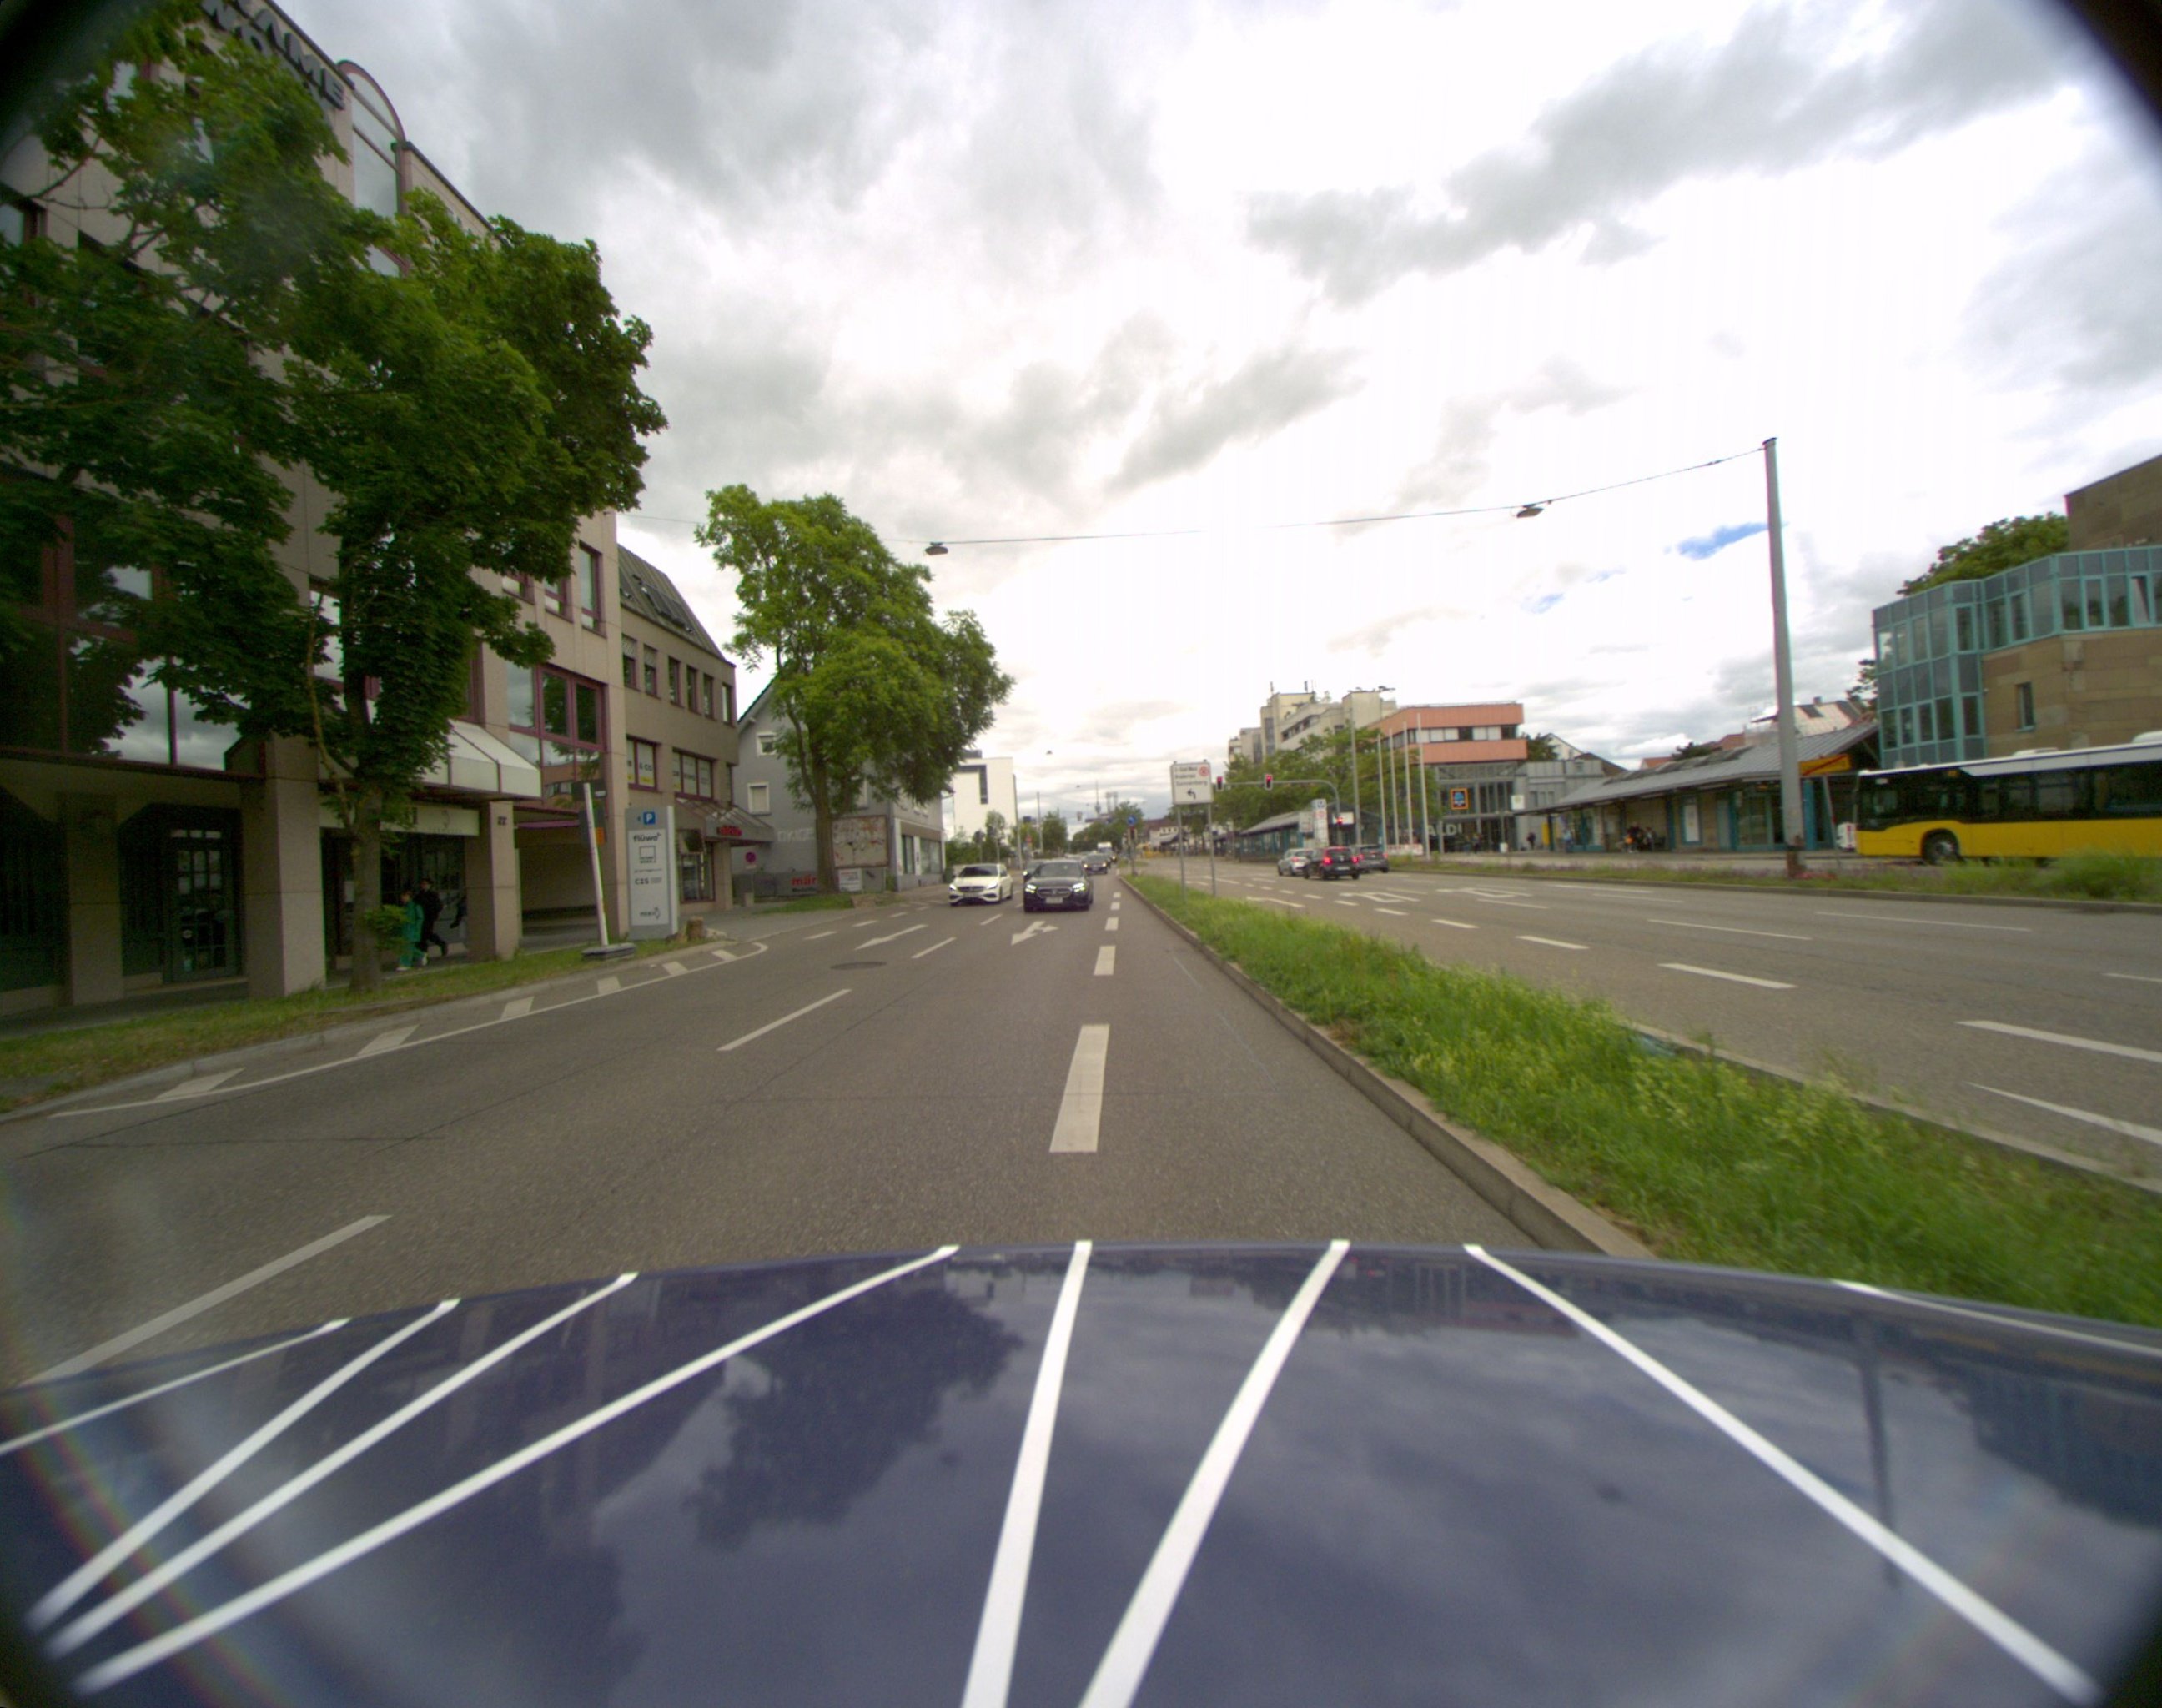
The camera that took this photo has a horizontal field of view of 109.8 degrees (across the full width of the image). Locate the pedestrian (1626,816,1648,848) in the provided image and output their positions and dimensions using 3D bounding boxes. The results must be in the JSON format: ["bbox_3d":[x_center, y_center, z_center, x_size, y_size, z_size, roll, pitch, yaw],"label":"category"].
[{"bbox_3d":[28.830,-1.149,39.393,0.621,1.640,0.658,-3,1,4],"label":"pedestrian"}]

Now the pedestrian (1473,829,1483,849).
[{"bbox_3d":[31.004,-1.153,59.355,0.485,1.539,0.383,-3,1,-9],"label":"pedestrian"}]

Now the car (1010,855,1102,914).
[{"bbox_3d":[-0.623,0.849,23.454,2.057,1.477,4.975,-3,0,7],"label":"car"}]

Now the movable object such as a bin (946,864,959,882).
[{"bbox_3d":[-8.265,1.220,48.756,0.610,1.098,0.710,-3,1,2],"label":"movable object such as a bin"}]

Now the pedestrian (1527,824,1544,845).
[{"bbox_3d":[33.283,-1.430,55.682,0.591,1.452,0.992,-3,1,2],"label":"pedestrian"}]

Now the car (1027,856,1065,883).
[{"bbox_3d":[-2.103,0.920,46.512,1.798,1.464,4.311,-3,0,4],"label":"car"}]

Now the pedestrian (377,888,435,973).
[{"bbox_3d":[-12.716,1.433,14.320,0.562,1.541,0.544,-1,1,3],"label":"pedestrian"}]

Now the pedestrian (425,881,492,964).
[{"bbox_3d":[-13.169,1.426,16.094,0.659,1.681,0.843,-1,1,3],"label":"pedestrian"}]

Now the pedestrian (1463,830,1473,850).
[{"bbox_3d":[30.322,-1.084,59.561,0.529,1.539,0.754,-3,1,15],"label":"pedestrian"}]

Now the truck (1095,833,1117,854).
[{"bbox_3d":[4.107,-1.616,125.251,3.119,3.209,6.523,-3,0,-2],"label":"truck"}]

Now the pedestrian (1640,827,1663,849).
[{"bbox_3d":[28.856,-0.808,38.425,0.621,1.114,0.658,-3,1,4],"label":"pedestrian"}]

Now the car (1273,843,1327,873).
[{"bbox_3d":[11.782,0.224,41.122,1.749,1.456,3.790,-3,-1,0],"label":"car"}]

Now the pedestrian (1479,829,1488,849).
[{"bbox_3d":[31.704,-1.166,59.848,0.486,1.539,0.382,-4,1,-42],"label":"pedestrian"}]

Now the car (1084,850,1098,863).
[{"bbox_3d":[1.458,0.319,112.975,2.020,1.760,4.000,-3,0,1],"label":"car"}]

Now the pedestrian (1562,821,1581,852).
[{"bbox_3d":[27.135,-0.960,42.033,0.621,1.640,0.658,-3,1,4],"label":"pedestrian"}]

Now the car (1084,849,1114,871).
[{"bbox_3d":[1.388,0.439,59.149,1.972,1.631,4.311,-1,0,-3],"label":"car"}]

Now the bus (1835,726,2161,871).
[{"bbox_3d":[25.040,-1.324,19.400,2.781,3.113,9.442,-5,0,6],"label":"bus"}]

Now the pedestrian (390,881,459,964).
[{"bbox_3d":[-13.942,1.429,16.156,0.659,1.681,0.843,-1,1,3],"label":"pedestrian"}]

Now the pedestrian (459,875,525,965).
[{"bbox_3d":[-12.356,1.366,15.965,0.659,1.815,0.843,-1,1,3],"label":"pedestrian"}]

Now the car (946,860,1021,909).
[{"bbox_3d":[-3.494,1.041,27.995,1.798,1.464,4.700,-3,1,4],"label":"car"}]

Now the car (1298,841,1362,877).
[{"bbox_3d":[11.404,0.194,35.025,1.663,1.499,3.768,-3,1,-1],"label":"car"}]

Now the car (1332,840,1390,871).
[{"bbox_3d":[14.957,0.038,40.774,1.819,1.499,4.000,-3,1,4],"label":"car"}]

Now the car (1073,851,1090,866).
[{"bbox_3d":[0.012,0.499,83.827,1.763,1.625,4.155,-2,0,0],"label":"car"}]

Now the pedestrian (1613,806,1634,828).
[{"bbox_3d":[29.122,-1.983,40.799,0.621,1.114,0.658,-3,1,4],"label":"pedestrian"}]
